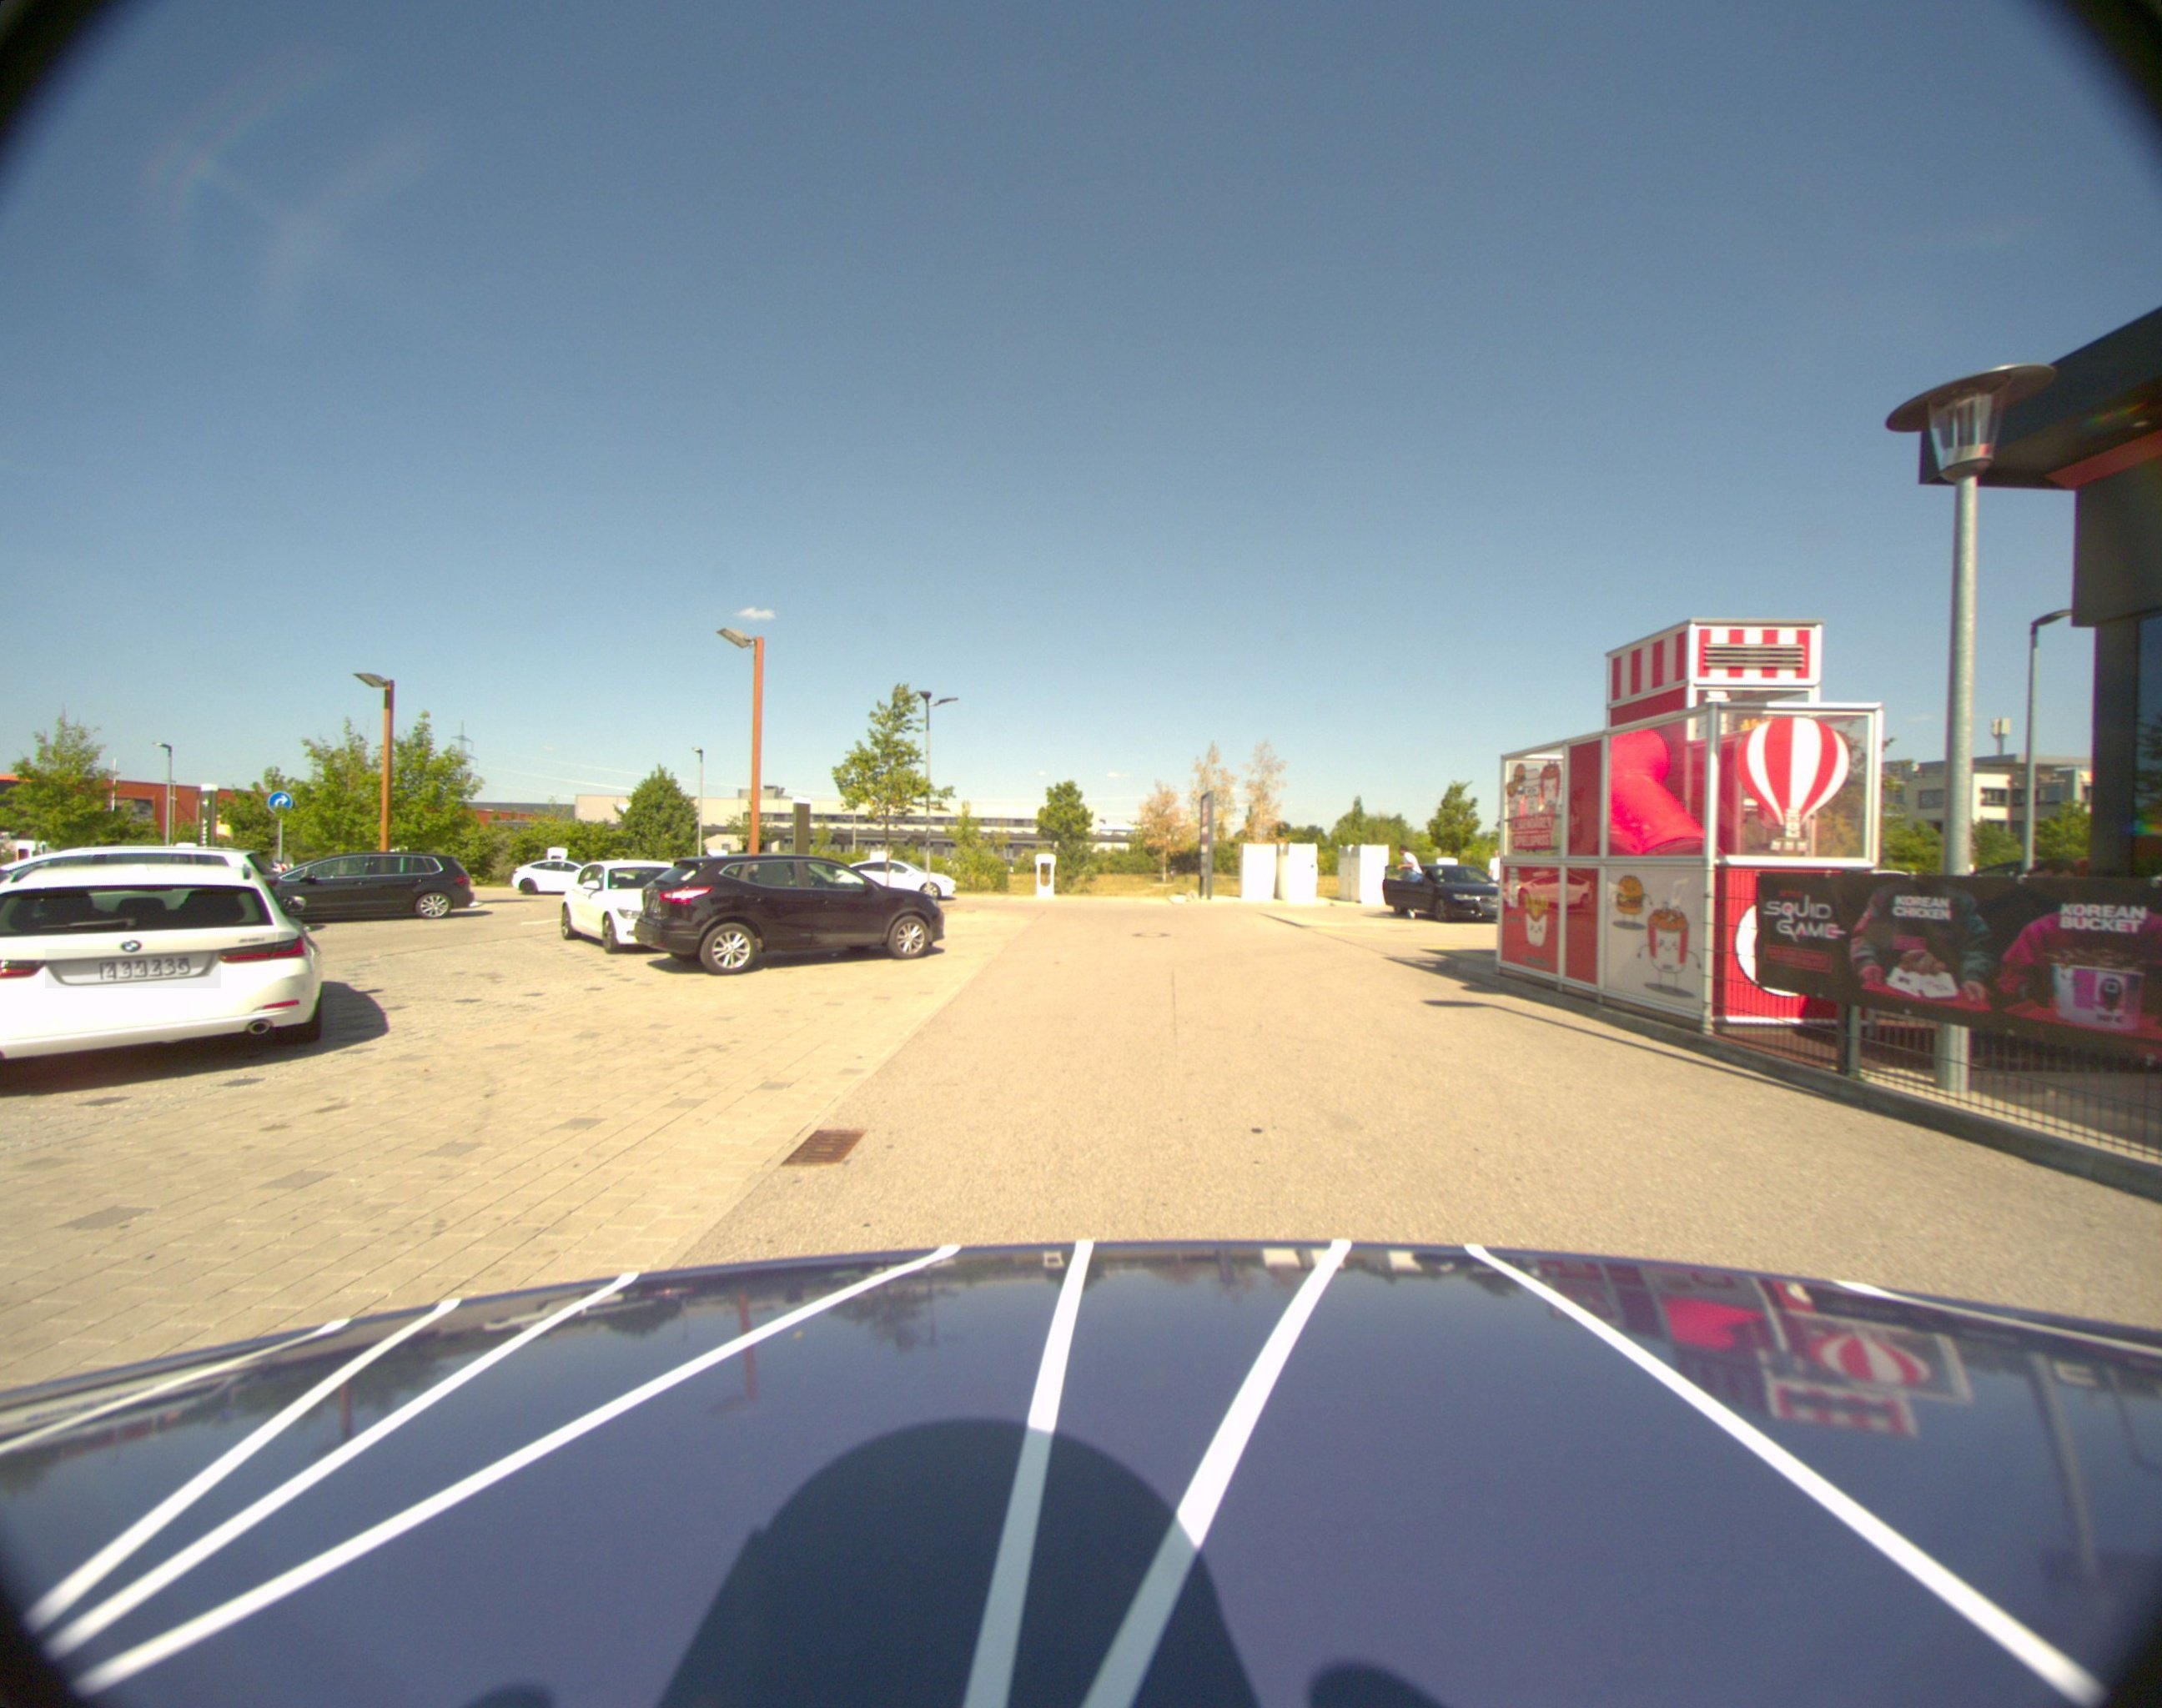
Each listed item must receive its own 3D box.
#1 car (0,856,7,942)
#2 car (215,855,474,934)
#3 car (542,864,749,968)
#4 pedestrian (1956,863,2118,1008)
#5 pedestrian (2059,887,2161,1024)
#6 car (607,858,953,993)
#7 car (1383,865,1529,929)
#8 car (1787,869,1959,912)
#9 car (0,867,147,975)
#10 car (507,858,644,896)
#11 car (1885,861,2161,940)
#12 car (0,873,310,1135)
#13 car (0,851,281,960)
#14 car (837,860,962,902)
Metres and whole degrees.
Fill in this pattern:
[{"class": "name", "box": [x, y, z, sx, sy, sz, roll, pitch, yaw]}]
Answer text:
[{"class": "car", "box": [-23.976, 0.930, 14.412, 1.649, 1.764, 3.966, 0, 0, 28]}, {"class": "car", "box": [-16.300, 0.801, 17.020, 1.749, 1.543, 4.009, 0, 0, 44]}, {"class": "car", "box": [-7.656, 0.928, 13.202, 4.195, 1.451, 1.980, 0, 0, 43]}, {"class": "pedestrian", "box": [9.922, 0.816, 7.916, 0.798, 1.435, 0.693, 0, 0, 0]}, {"class": "pedestrian", "box": [9.997, 0.920, 7.121, 0.754, 1.193, 0.695, 0, 0, 2]}, {"class": "car", "box": [-4.224, 0.881, 11.109, 4.313, 1.581, 1.852, 1, 0, -42]}, {"class": "car", "box": [9.578, 1.034, 19.830, 1.728, 1.403, 4.315, 0, 0, 0]}, {"class": "car", "box": [31.163, 1.408, 30.025, 4.429, 1.518, 2.217, 0, 1, 0]}, {"class": "car", "box": [-15.822, 0.923, 10.173, 1.808, 1.405, 4.124, 1, 1, 40]}, {"class": "car", "box": [-20.420, 0.913, 30.803, 4.329, 1.470, 1.843, 1, 0, 2]}, {"class": "car", "box": [21.777, 0.945, 17.331, 1.999, 1.560, 4.550, 0, -1, -1]}, {"class": "car", "box": [-7.820, 0.934, 6.296, 4.571, 1.451, 1.840, 0, 0, 43]}, {"class": "car", "box": [-16.750, 0.798, 12.985, 4.123, 1.665, 1.808, 0, 1, -43]}, {"class": "car", "box": [-7.154, 1.059, 30.293, 4.574, 1.583, 1.842, 1, 0, -3]}]
